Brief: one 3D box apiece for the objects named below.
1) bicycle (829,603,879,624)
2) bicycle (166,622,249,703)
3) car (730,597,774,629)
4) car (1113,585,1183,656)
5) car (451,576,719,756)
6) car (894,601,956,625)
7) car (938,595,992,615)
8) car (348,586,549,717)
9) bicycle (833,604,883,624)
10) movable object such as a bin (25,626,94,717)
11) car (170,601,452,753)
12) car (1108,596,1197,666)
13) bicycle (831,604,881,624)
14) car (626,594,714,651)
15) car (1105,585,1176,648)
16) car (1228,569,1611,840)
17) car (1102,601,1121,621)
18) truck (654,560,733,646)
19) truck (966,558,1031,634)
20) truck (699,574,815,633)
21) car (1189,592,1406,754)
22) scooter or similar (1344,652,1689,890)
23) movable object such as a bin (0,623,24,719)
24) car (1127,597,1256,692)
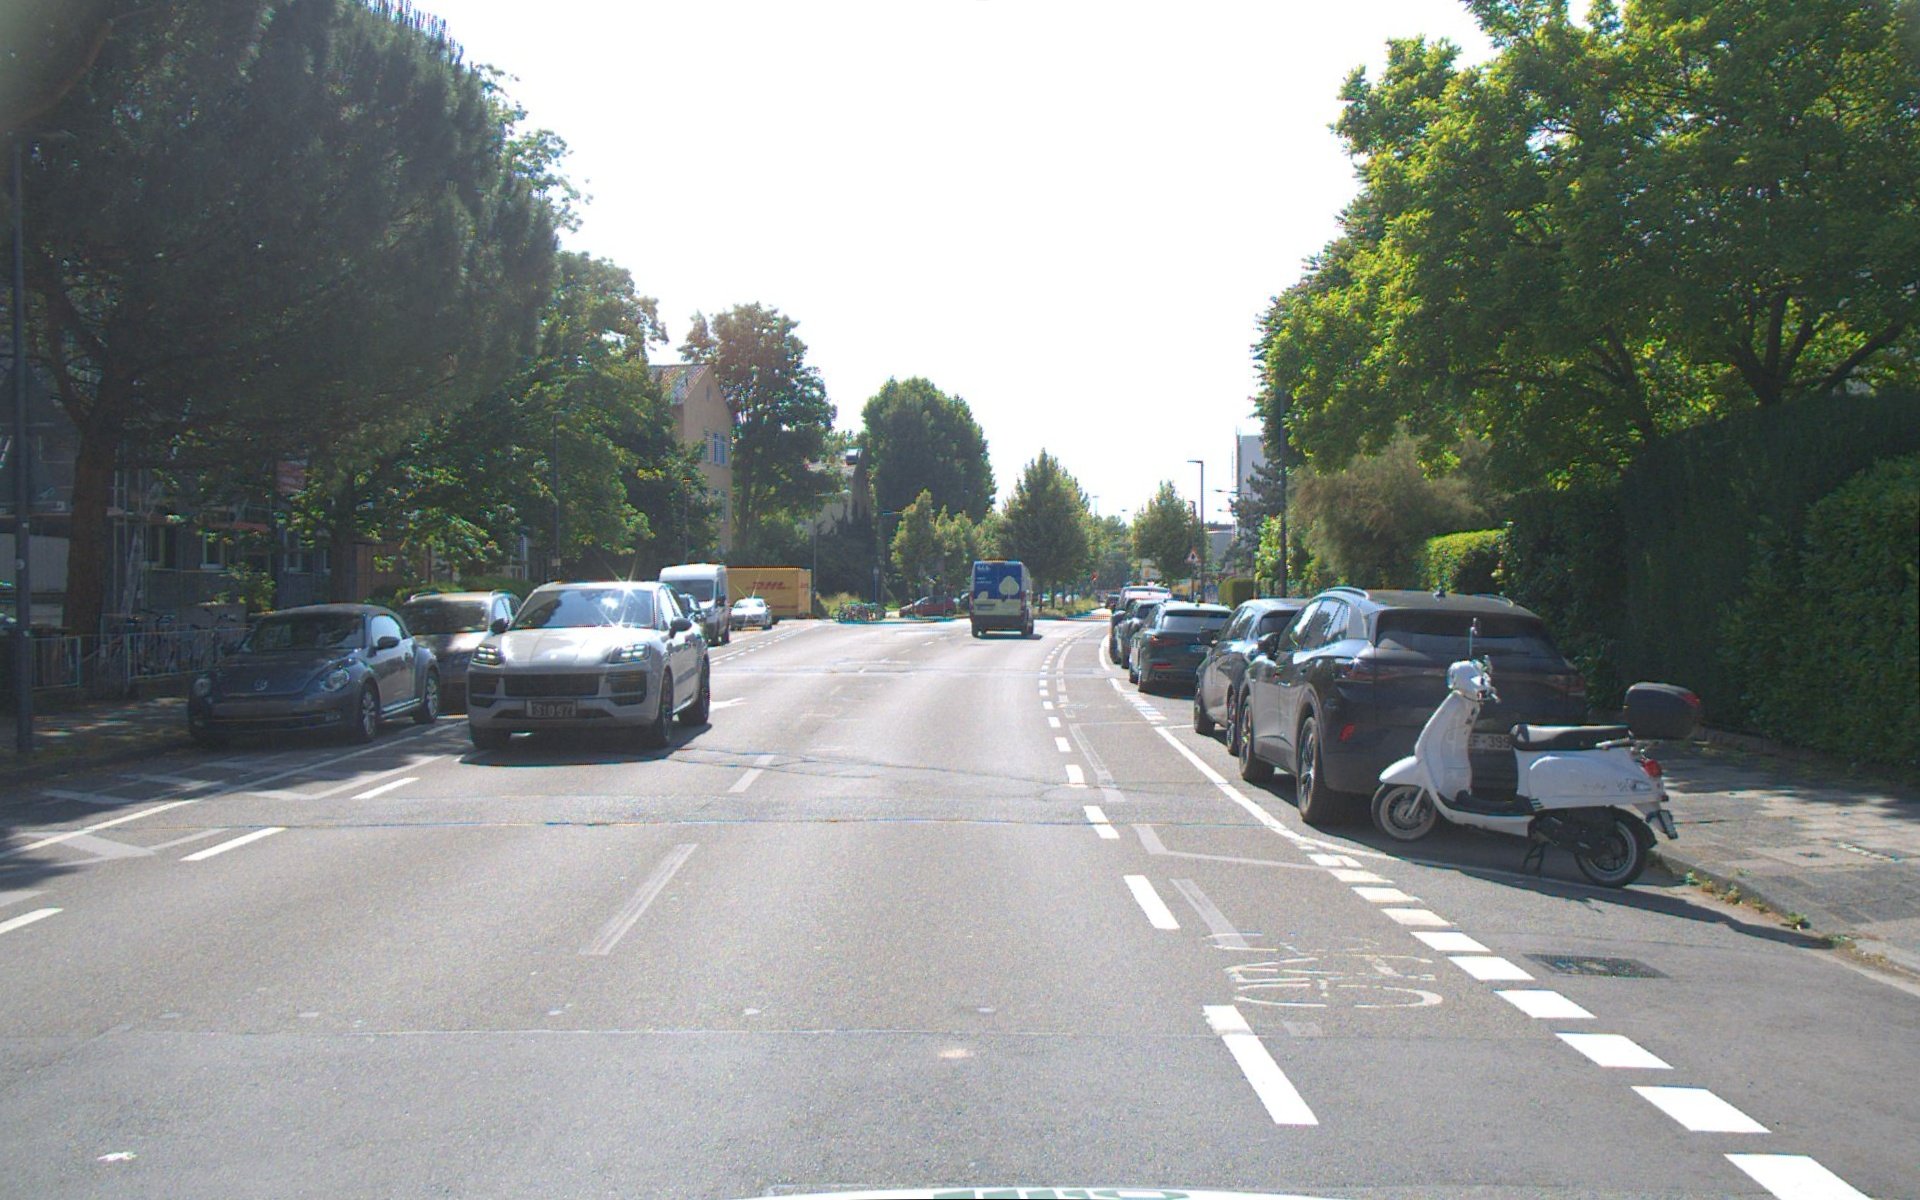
[{"bbox_3d":[-5.793,0.734,90.541,2.639,1.066,1.023,-1,0,-10],"label":"bicycle"},{"bbox_3d":[-11.513,0.939,25.370,0.365,1.166,1.977,-1,0,0],"label":"bicycle"},{"bbox_3d":[-9.284,0.580,74.119,1.719,1.367,3.651,-1,0,-3],"label":"car"},{"bbox_3d":[4.710,0.492,41.822,1.664,1.706,3.777,-1,0,5],"label":"car"},{"bbox_3d":[-3.904,0.621,18.058,1.953,1.686,4.603,-1,0,-1],"label":"car"},{"bbox_3d":[-2.319,0.840,109.695,3.915,1.516,1.624,-1,0,-11],"label":"car"},{"bbox_3d":[0.373,0.383,126.440,3.915,1.516,1.624,-1,0,-11],"label":"car"},{"bbox_3d":[-7.415,0.690,24.419,1.871,1.706,4.255,-2,0,-4],"label":"car"},{"bbox_3d":[-5.671,0.751,91.683,2.639,1.066,1.023,-1,0,-10],"label":"bicycle"},{"bbox_3d":[-11.487,0.906,21.114,0.532,1.131,0.585,-1,0,3],"label":"movable object such as a bin"},{"bbox_3d":[-7.213,0.780,18.844,1.745,1.485,4.083,-1,0,-3],"label":"car"},{"bbox_3d":[4.198,0.639,36.494,1.747,1.424,4.125,1,0,4],"label":"car"},{"bbox_3d":[-5.622,0.732,89.417,2.616,1.044,1.023,-1,0,-10],"label":"bicycle"},{"bbox_3d":[-8.101,0.593,46.491,1.718,1.522,3.655,-1,0,2],"label":"car"},{"bbox_3d":[5.107,0.442,47.163,1.665,1.706,3.775,-1,0,1],"label":"car"},{"bbox_3d":[3.260,0.656,12.674,1.748,1.667,4.471,1,0,1],"label":"car"},{"bbox_3d":[16.177,1.141,176.683,1.868,2.049,4.002,-1,0,3],"label":"car"},{"bbox_3d":[-8.394,0.077,52.521,2.040,2.581,5.461,-1,0,-5],"label":"truck"},{"bbox_3d":[1.415,-0.140,59.597,2.225,2.616,4.393,-1,0,2],"label":"truck"},{"bbox_3d":[-10.546,0.200,86.041,5.546,2.998,2.223,-1,0,13],"label":"truck"},{"bbox_3d":[3.585,0.708,18.205,1.673,1.540,3.903,2,0,2],"label":"car"},{"bbox_3d":[3.267,0.958,9.813,1.766,1.174,0.715,3,0,43],"label":"scooter or similar"},{"bbox_3d":[-11.594,0.848,19.738,0.592,1.131,0.431,-1,-1,3],"label":"movable object such as a bin"},{"bbox_3d":[3.806,0.690,27.813,1.747,1.424,4.325,2,0,3],"label":"car"}]
